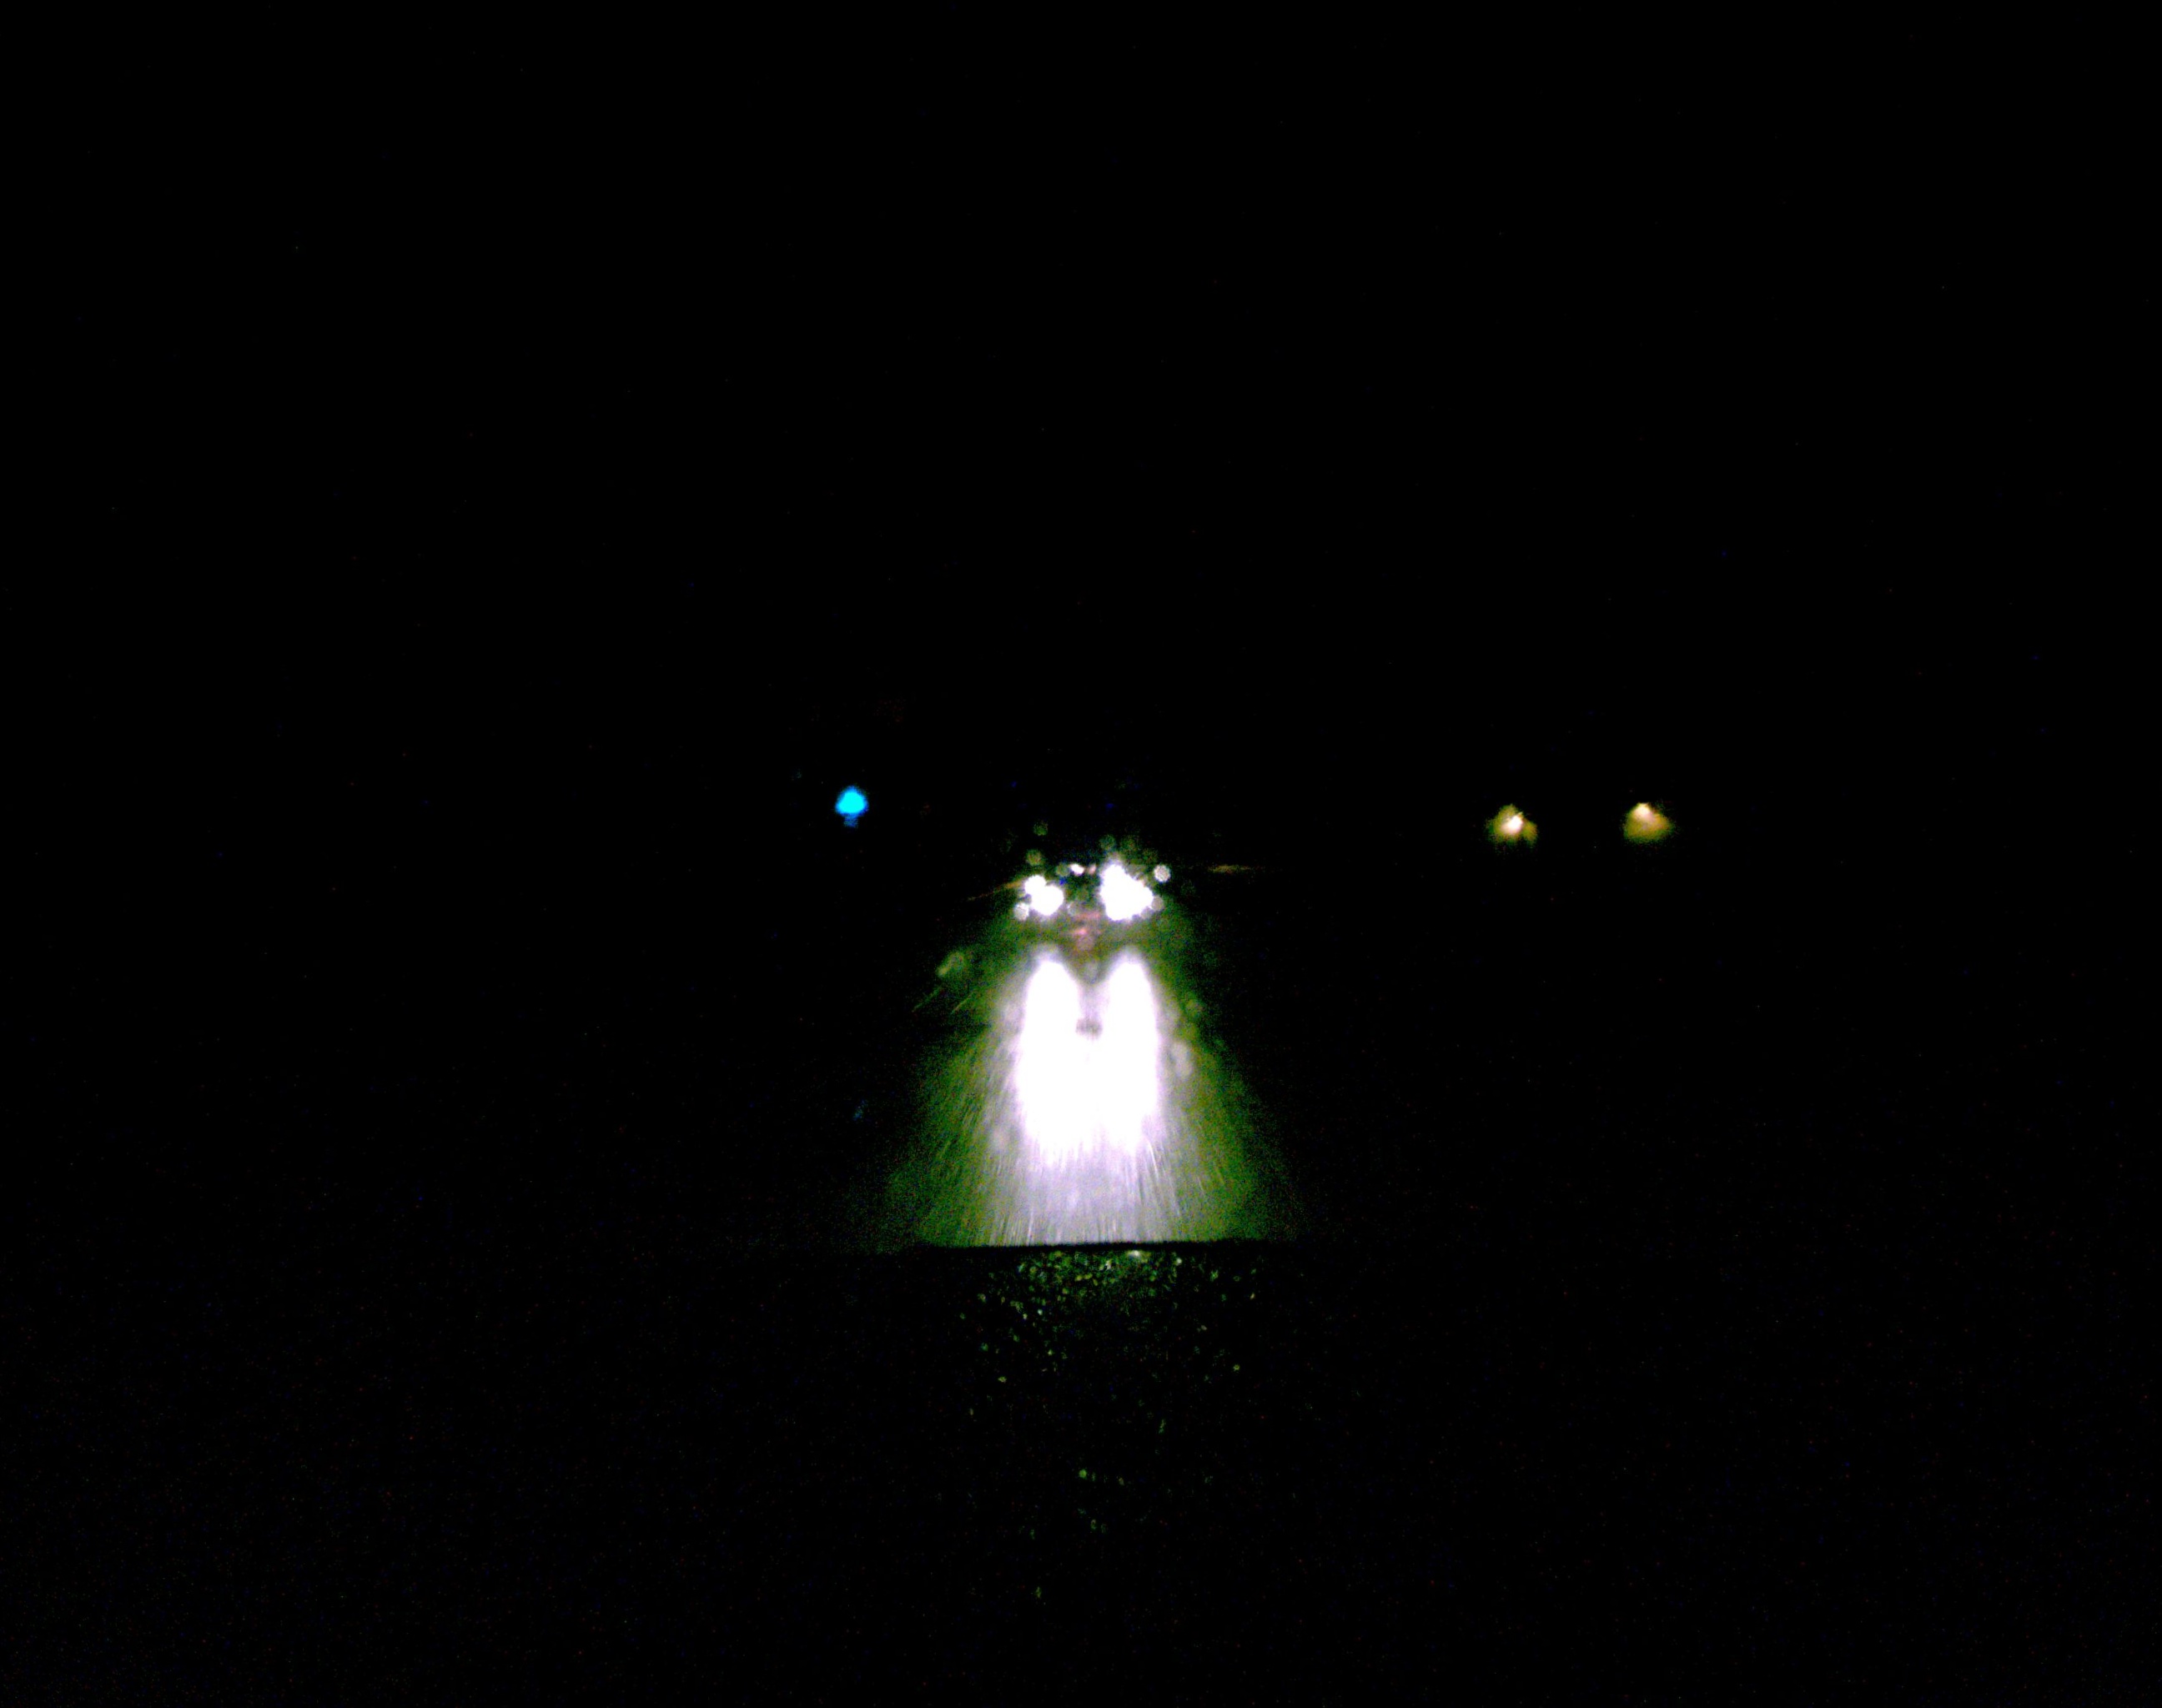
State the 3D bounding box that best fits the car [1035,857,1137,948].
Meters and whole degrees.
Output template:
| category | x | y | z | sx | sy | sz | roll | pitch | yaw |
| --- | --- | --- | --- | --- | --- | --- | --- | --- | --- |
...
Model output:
| category | x | y | z | sx | sy | sz | roll | pitch | yaw |
| --- | --- | --- | --- | --- | --- | --- | --- | --- | --- |
| car | 0.174 | 0.886 | 16.150 | 1.809 | 1.590 | 4.787 | -1 | 0 | 2 |
